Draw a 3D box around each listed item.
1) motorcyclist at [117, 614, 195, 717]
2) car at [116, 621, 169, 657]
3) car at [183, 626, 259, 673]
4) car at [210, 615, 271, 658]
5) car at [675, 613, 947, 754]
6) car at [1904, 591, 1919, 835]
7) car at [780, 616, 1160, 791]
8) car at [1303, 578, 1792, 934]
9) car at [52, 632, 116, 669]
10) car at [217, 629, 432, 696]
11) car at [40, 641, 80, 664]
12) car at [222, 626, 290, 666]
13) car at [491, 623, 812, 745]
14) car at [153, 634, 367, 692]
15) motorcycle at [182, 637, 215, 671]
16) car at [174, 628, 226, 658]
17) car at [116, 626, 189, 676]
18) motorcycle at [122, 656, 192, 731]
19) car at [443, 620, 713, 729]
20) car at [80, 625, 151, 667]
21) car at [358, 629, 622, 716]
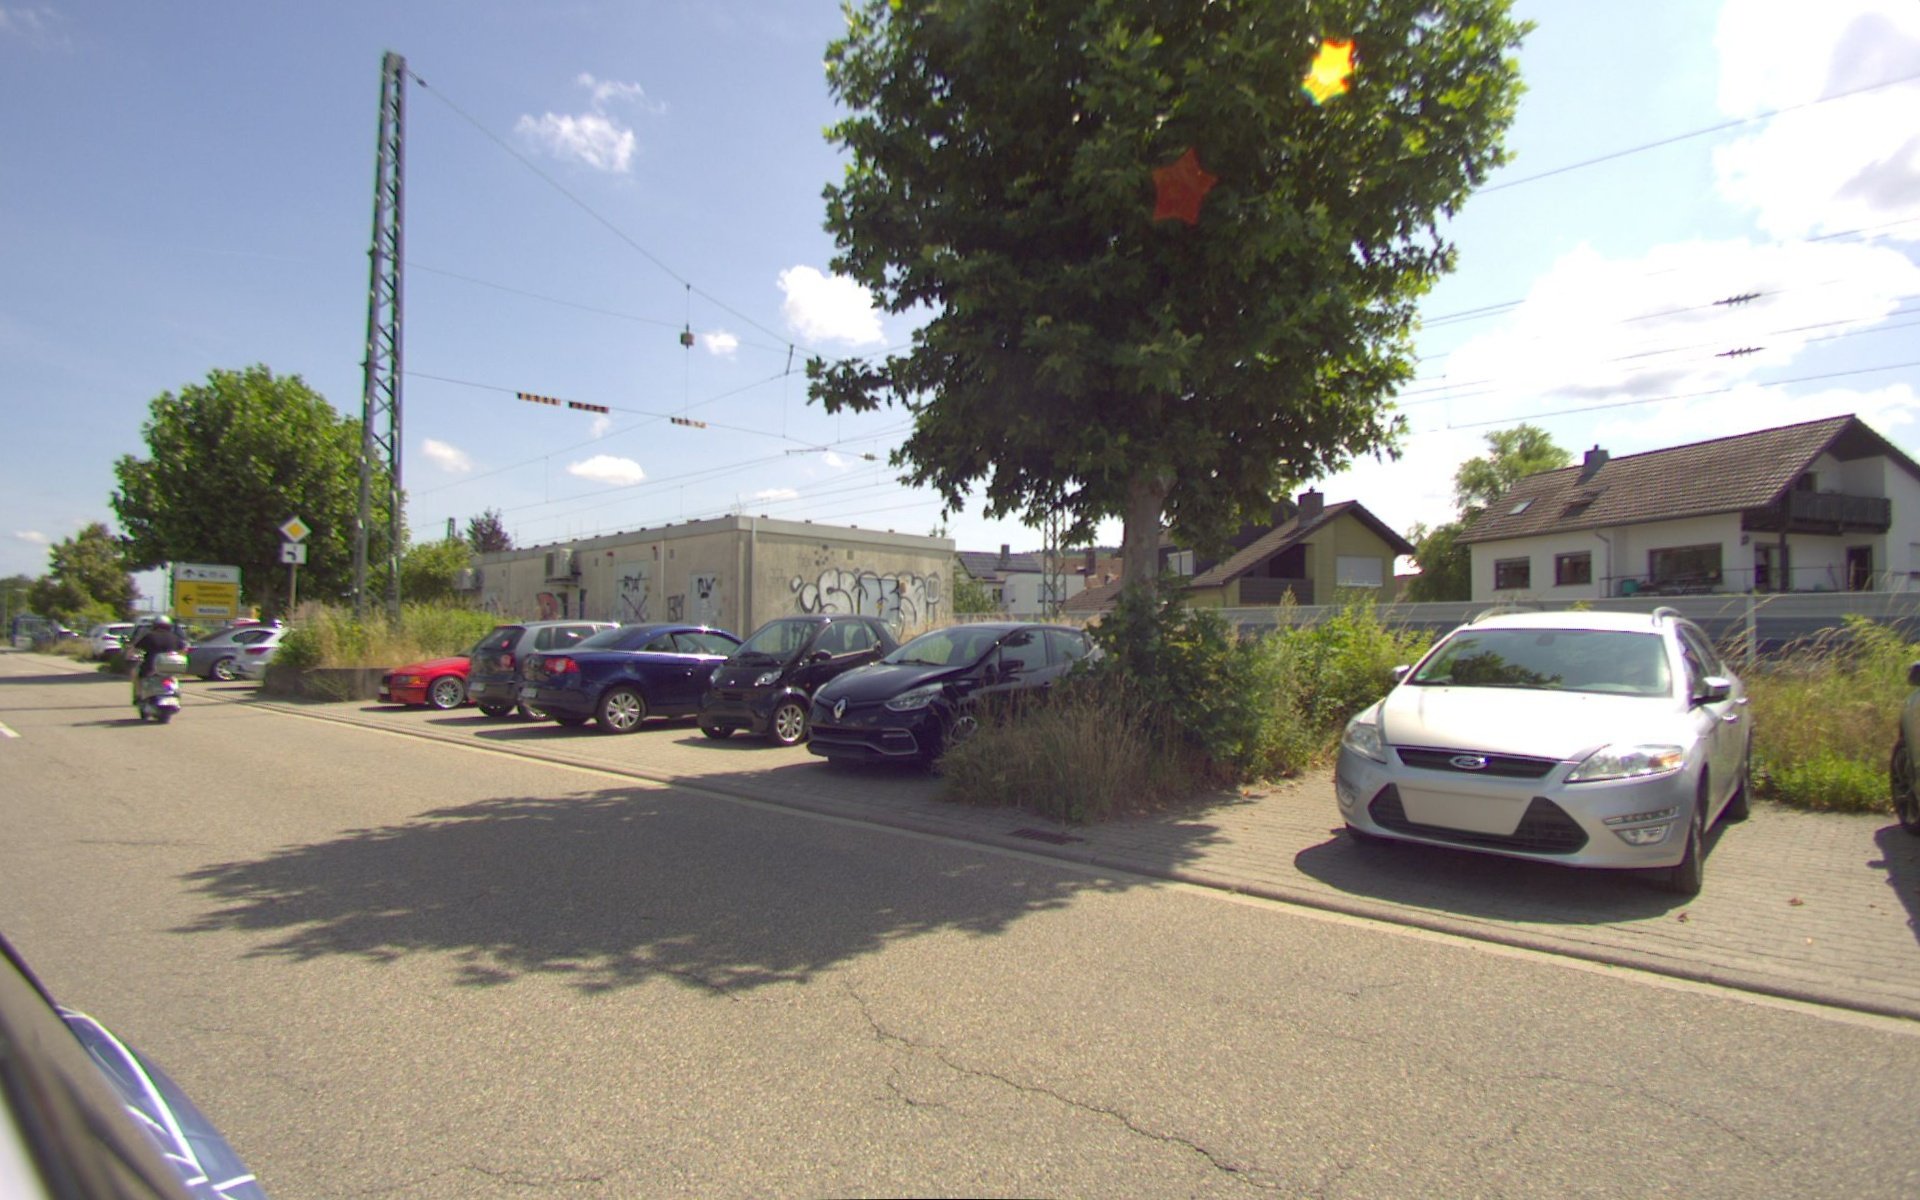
[{"bbox_3d":[-12.440,0.994,15.658,0.921,1.521,0.767,-2,-3,41],"label":"motorcyclist"},{"bbox_3d":[-43.389,2.079,53.662,1.925,1.847,3.840,3,-4,-42],"label":"car"},{"bbox_3d":[-25.507,1.701,34.892,1.769,1.548,3.583,3,-3,-41],"label":"car"},{"bbox_3d":[-35.288,1.801,49.590,1.824,2.029,4.004,3,-4,-43],"label":"car"},{"bbox_3d":[-1.799,0.977,12.893,1.601,1.550,3.155,-1,-3,40],"label":"car"},{"bbox_3d":[6.154,0.693,4.961,1.999,1.559,3.946,-2,-2,40],"label":"car"},{"bbox_3d":[0.275,0.973,10.697,1.787,1.484,4.028,-2,-3,43],"label":"car"},{"bbox_3d":[4.092,0.744,6.662,1.925,1.544,4.291,-3,-3,42],"label":"car"},{"bbox_3d":[-39.145,2.232,45.201,3.961,1.556,1.770,-2,-4,44],"label":"car"},{"bbox_3d":[-15.141,1.433,24.269,1.785,1.412,4.031,-2,-2,40],"label":"car"},{"bbox_3d":[-57.509,3.341,64.674,4.001,1.360,1.585,-2,-4,44],"label":"car"},{"bbox_3d":[-30.856,1.979,44.316,1.969,1.670,4.268,1,-2,-41],"label":"car"},{"bbox_3d":[-4.189,1.086,14.131,3.898,1.461,1.788,2,-3,-43],"label":"car"},{"bbox_3d":[-18.687,1.659,27.196,1.786,1.421,4.381,-2,-3,39],"label":"car"},{"bbox_3d":[-31.753,2.224,42.165,0.728,1.383,3.216,3,-4,-43],"label":"motorcycle"},{"bbox_3d":[-42.867,2.402,57.061,1.925,1.621,4.277,3,-4,-42],"label":"car"},{"bbox_3d":[-26.770,1.680,33.503,1.664,1.542,4.068,3,-3,-41],"label":"car"},{"bbox_3d":[-12.390,1.411,15.598,1.954,1.059,0.458,-1,-2,40],"label":"motorcycle"},{"bbox_3d":[-5.919,1.084,15.960,1.683,1.459,3.628,-2,-2,40],"label":"car"},{"bbox_3d":[-33.904,1.830,40.601,1.783,1.576,4.265,3,-4,-45],"label":"car"},{"bbox_3d":[-8.383,1.244,18.306,1.674,1.379,4.029,-4,-4,42],"label":"car"}]
